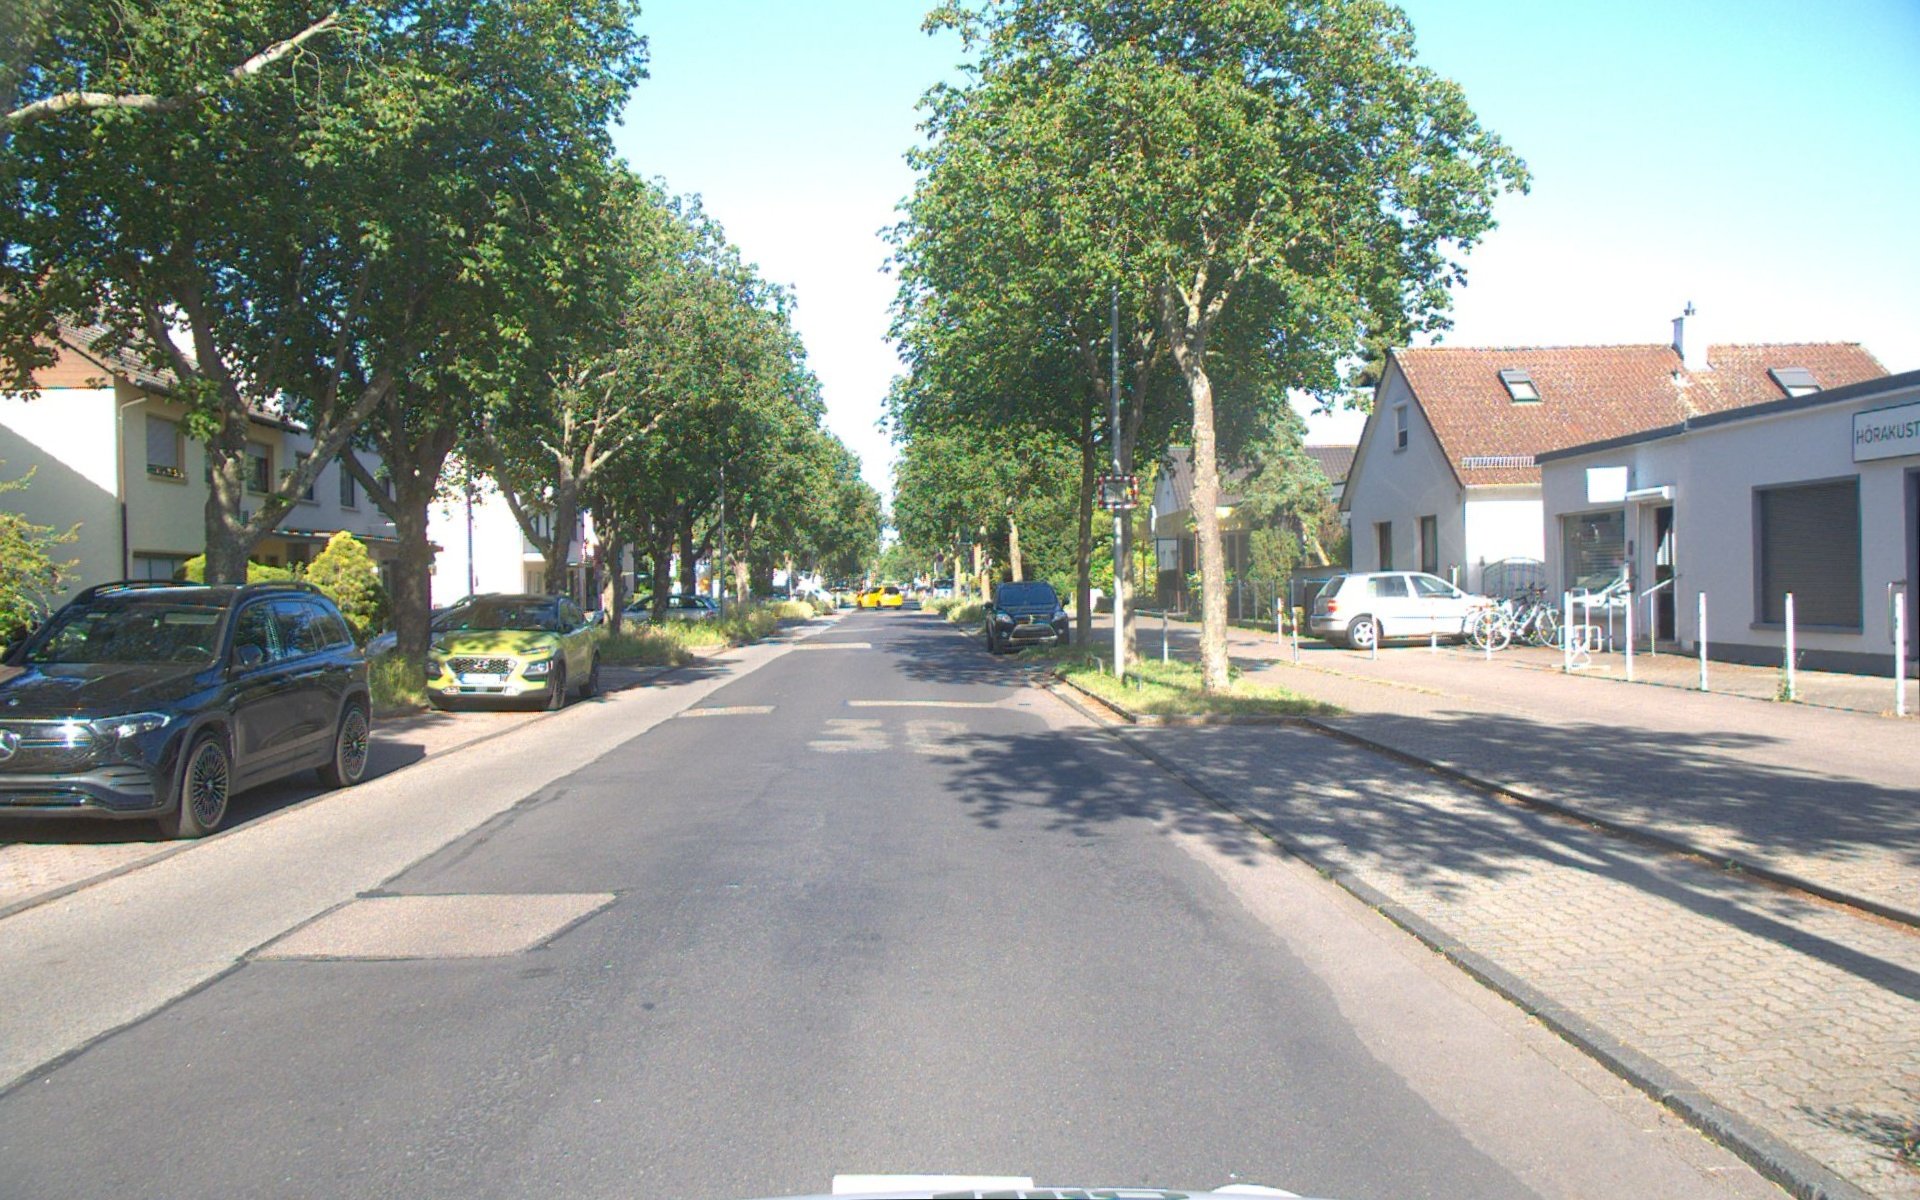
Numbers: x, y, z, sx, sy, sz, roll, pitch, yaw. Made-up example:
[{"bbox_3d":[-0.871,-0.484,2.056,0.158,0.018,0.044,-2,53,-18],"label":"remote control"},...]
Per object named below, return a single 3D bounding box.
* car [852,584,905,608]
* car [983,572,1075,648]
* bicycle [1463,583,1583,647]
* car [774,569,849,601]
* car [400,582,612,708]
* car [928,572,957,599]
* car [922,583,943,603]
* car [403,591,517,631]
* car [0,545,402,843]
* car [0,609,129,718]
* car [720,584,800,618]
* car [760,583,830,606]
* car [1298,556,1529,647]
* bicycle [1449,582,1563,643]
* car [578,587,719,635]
[{"bbox_3d":[-5.486,-0.298,110.939,1.872,1.504,3.841,1,0,-35],"label":"car"},{"bbox_3d":[1.620,0.235,40.236,1.816,1.654,4.467,-3,0,-2],"label":"car"},{"bbox_3d":[9.965,0.256,29.283,1.919,1.016,0.576,-3,2,-4],"label":"bicycle"},{"bbox_3d":[-10.912,-1.110,121.773,5.390,2.286,2.515,0,2,-4],"label":"car"},{"bbox_3d":[-6.383,0.600,23.752,1.899,1.637,4.382,0,0,-1],"label":"car"},{"bbox_3d":[-1.203,-0.980,113.252,1.864,1.805,4.299,0,0,-2],"label":"car"},{"bbox_3d":[-2.495,-0.650,151.163,1.864,1.805,4.299,0,0,-2],"label":"car"},{"bbox_3d":[-21.880,0.458,72.482,4.467,1.646,1.998,0,2,-6],"label":"car"},{"bbox_3d":[-5.874,0.568,12.226,1.914,1.757,4.873,0,0,-1],"label":"car"},{"bbox_3d":[-16.909,1.069,28.503,4.154,1.743,1.997,0,2,-8],"label":"car"},{"bbox_3d":[-11.300,0.044,93.681,4.459,1.796,1.997,0,2,-7],"label":"car"},{"bbox_3d":[-10.023,-0.356,100.306,4.205,1.338,1.906,0,2,-7],"label":"car"},{"bbox_3d":[8.809,0.000,32.335,3.908,1.514,1.901,-3,2,-4],"label":"car"},{"bbox_3d":[9.982,0.224,30.272,1.885,1.016,0.576,-3,2,-4],"label":"bicycle"},{"bbox_3d":[-10.536,0.369,56.219,4.463,1.537,1.840,0,2,-3],"label":"car"}]
